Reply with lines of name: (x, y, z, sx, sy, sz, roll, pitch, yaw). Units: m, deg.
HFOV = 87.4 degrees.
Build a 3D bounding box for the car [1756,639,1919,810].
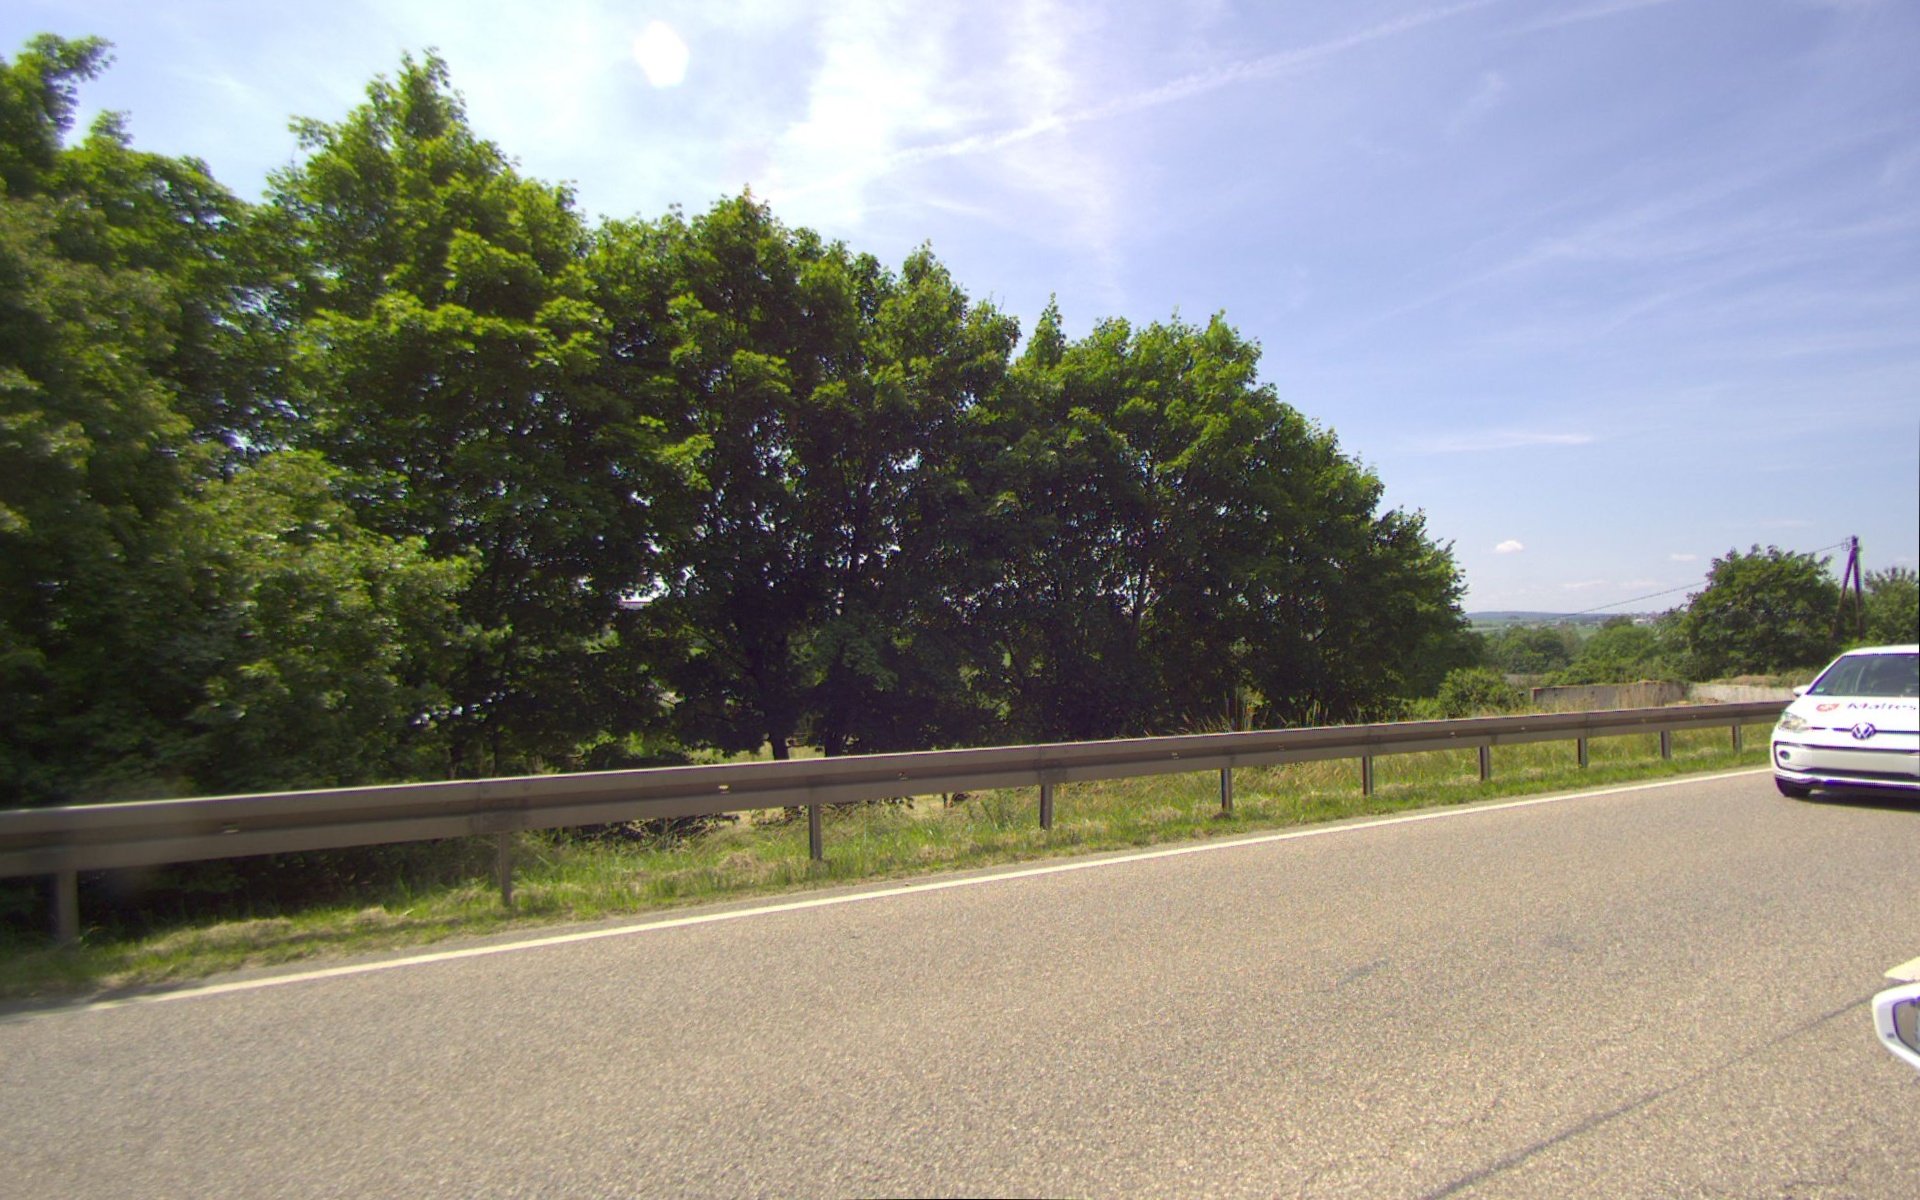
car: (9.640, 1.145, 9.962, 3.509, 1.481, 1.550, 1, -5, -31)
